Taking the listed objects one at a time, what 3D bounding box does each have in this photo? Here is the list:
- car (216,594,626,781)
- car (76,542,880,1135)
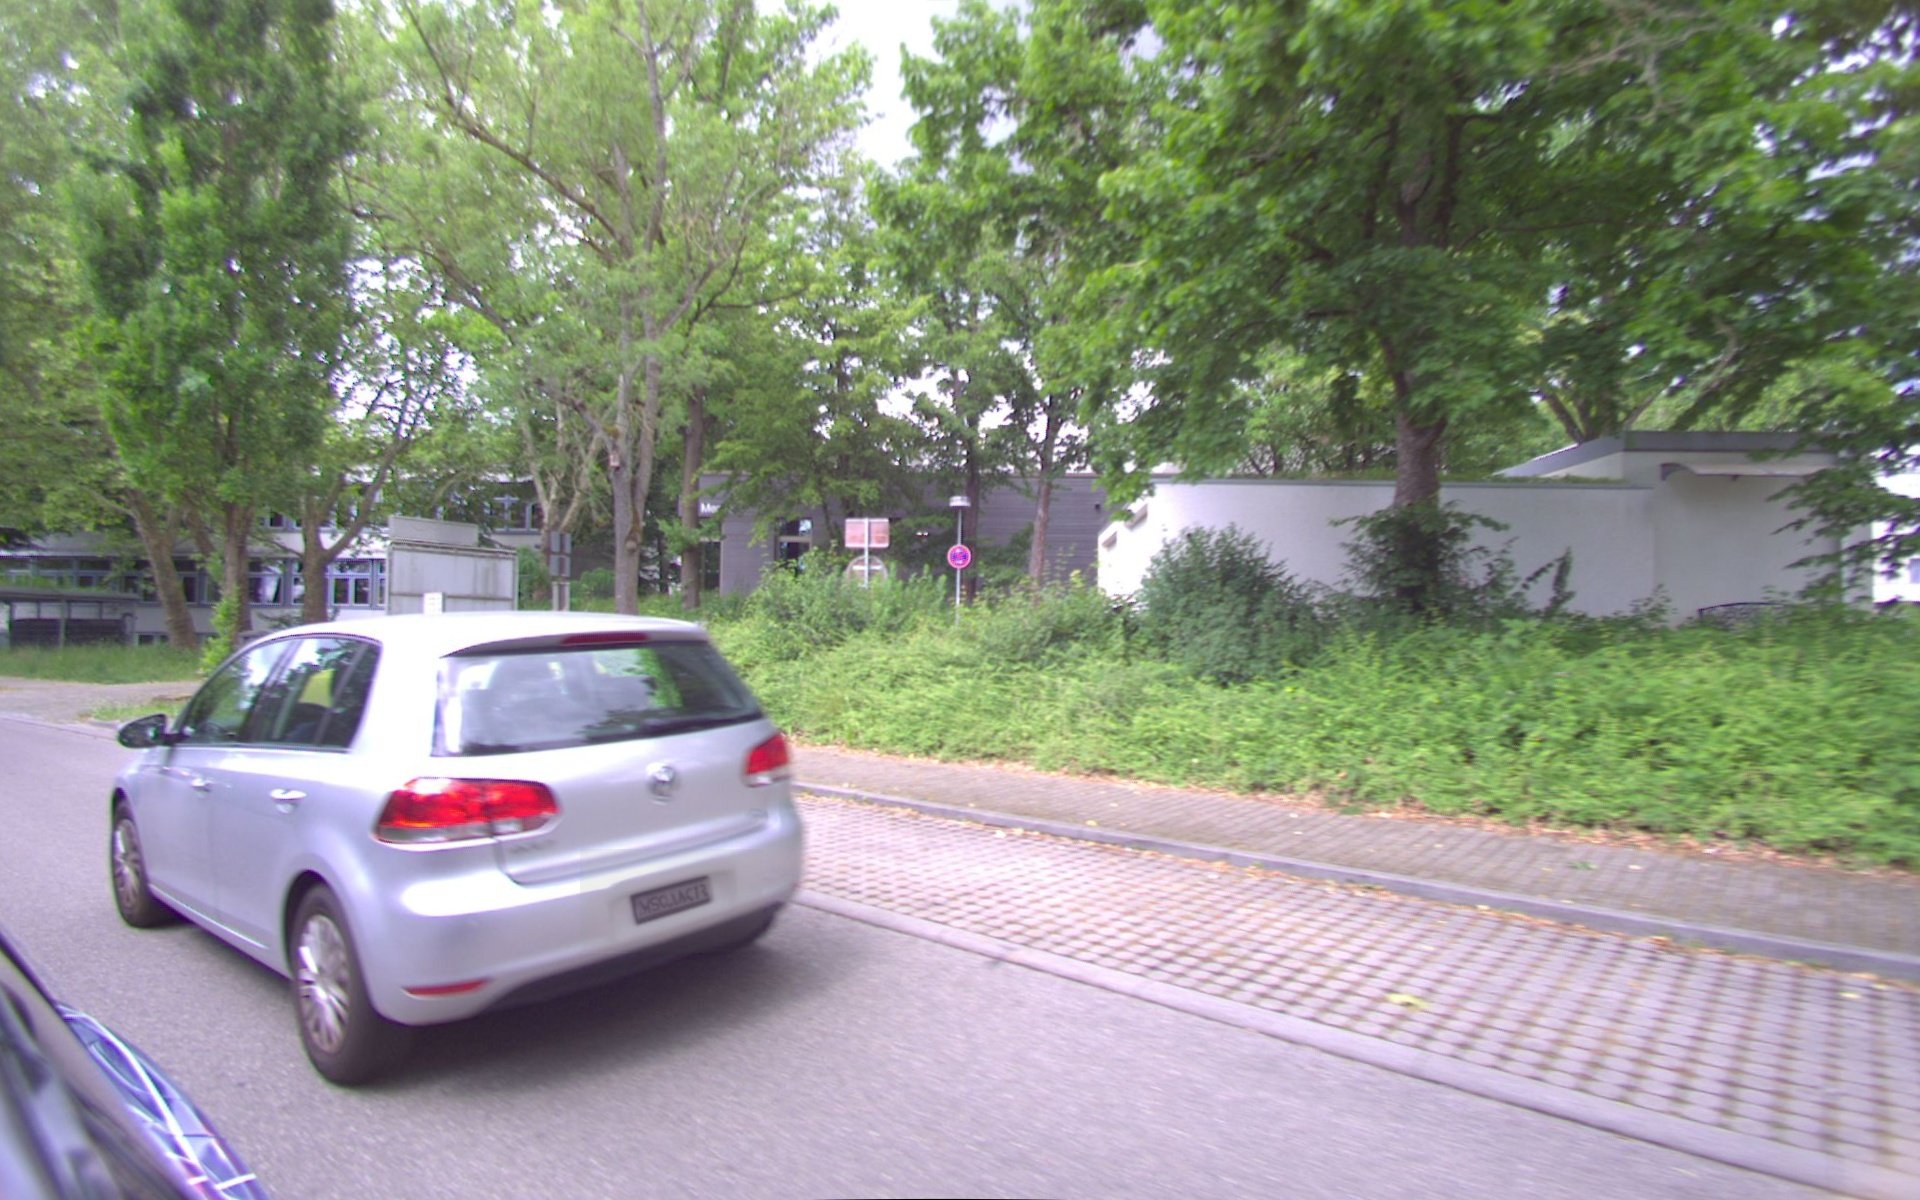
[{"bbox_3d":[-5.206,0.688,9.582,4.263,1.413,1.685,-1,-1,35],"label":"car"},{"bbox_3d":[-2.392,0.627,4.468,4.058,1.474,1.659,-2,0,40],"label":"car"}]
